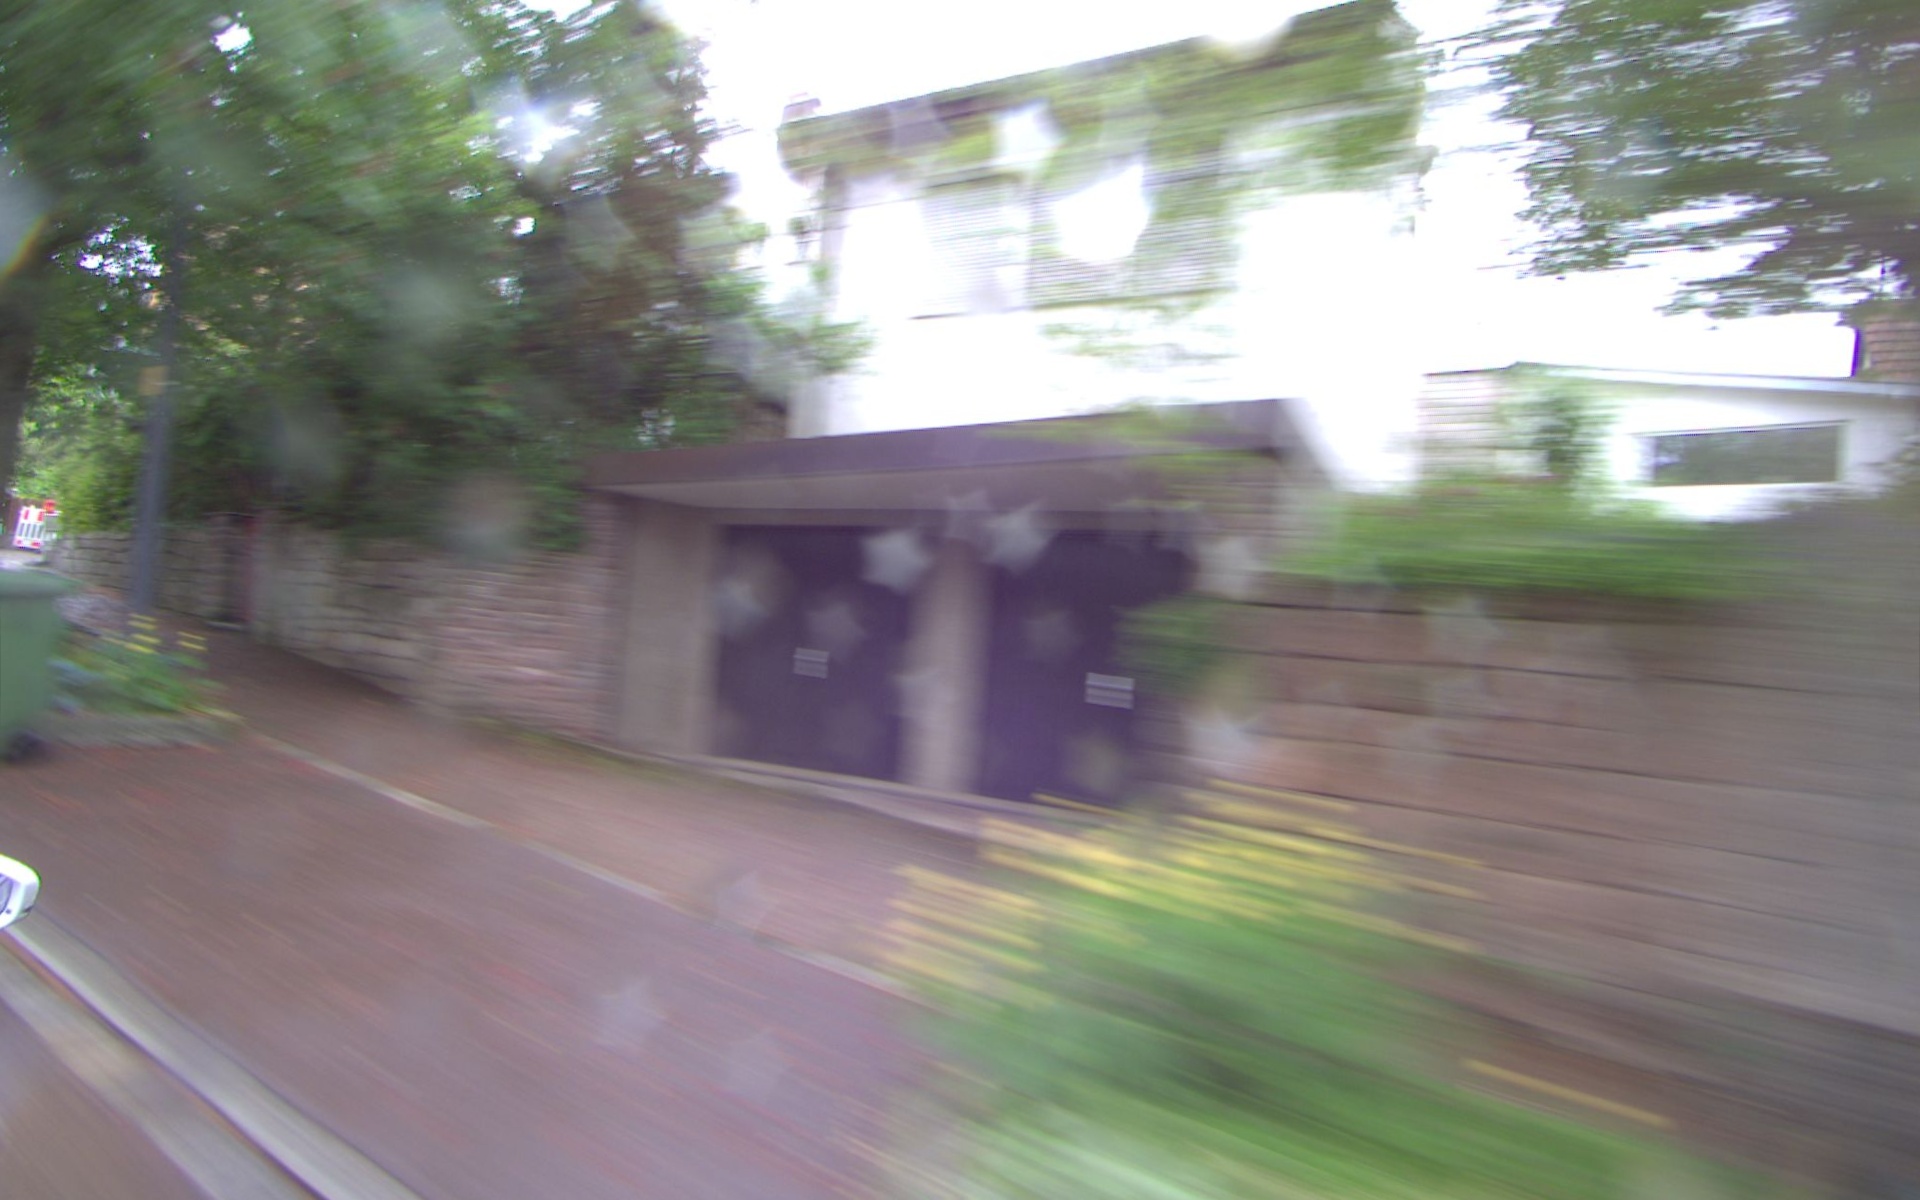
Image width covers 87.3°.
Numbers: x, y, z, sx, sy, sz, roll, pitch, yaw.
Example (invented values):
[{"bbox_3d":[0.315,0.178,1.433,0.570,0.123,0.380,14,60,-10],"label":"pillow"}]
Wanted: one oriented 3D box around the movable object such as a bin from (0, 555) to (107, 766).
[{"bbox_3d":[-5.583,0.316,5.754,0.869,1.121,0.770,6,1,30],"label":"movable object such as a bin"}]
